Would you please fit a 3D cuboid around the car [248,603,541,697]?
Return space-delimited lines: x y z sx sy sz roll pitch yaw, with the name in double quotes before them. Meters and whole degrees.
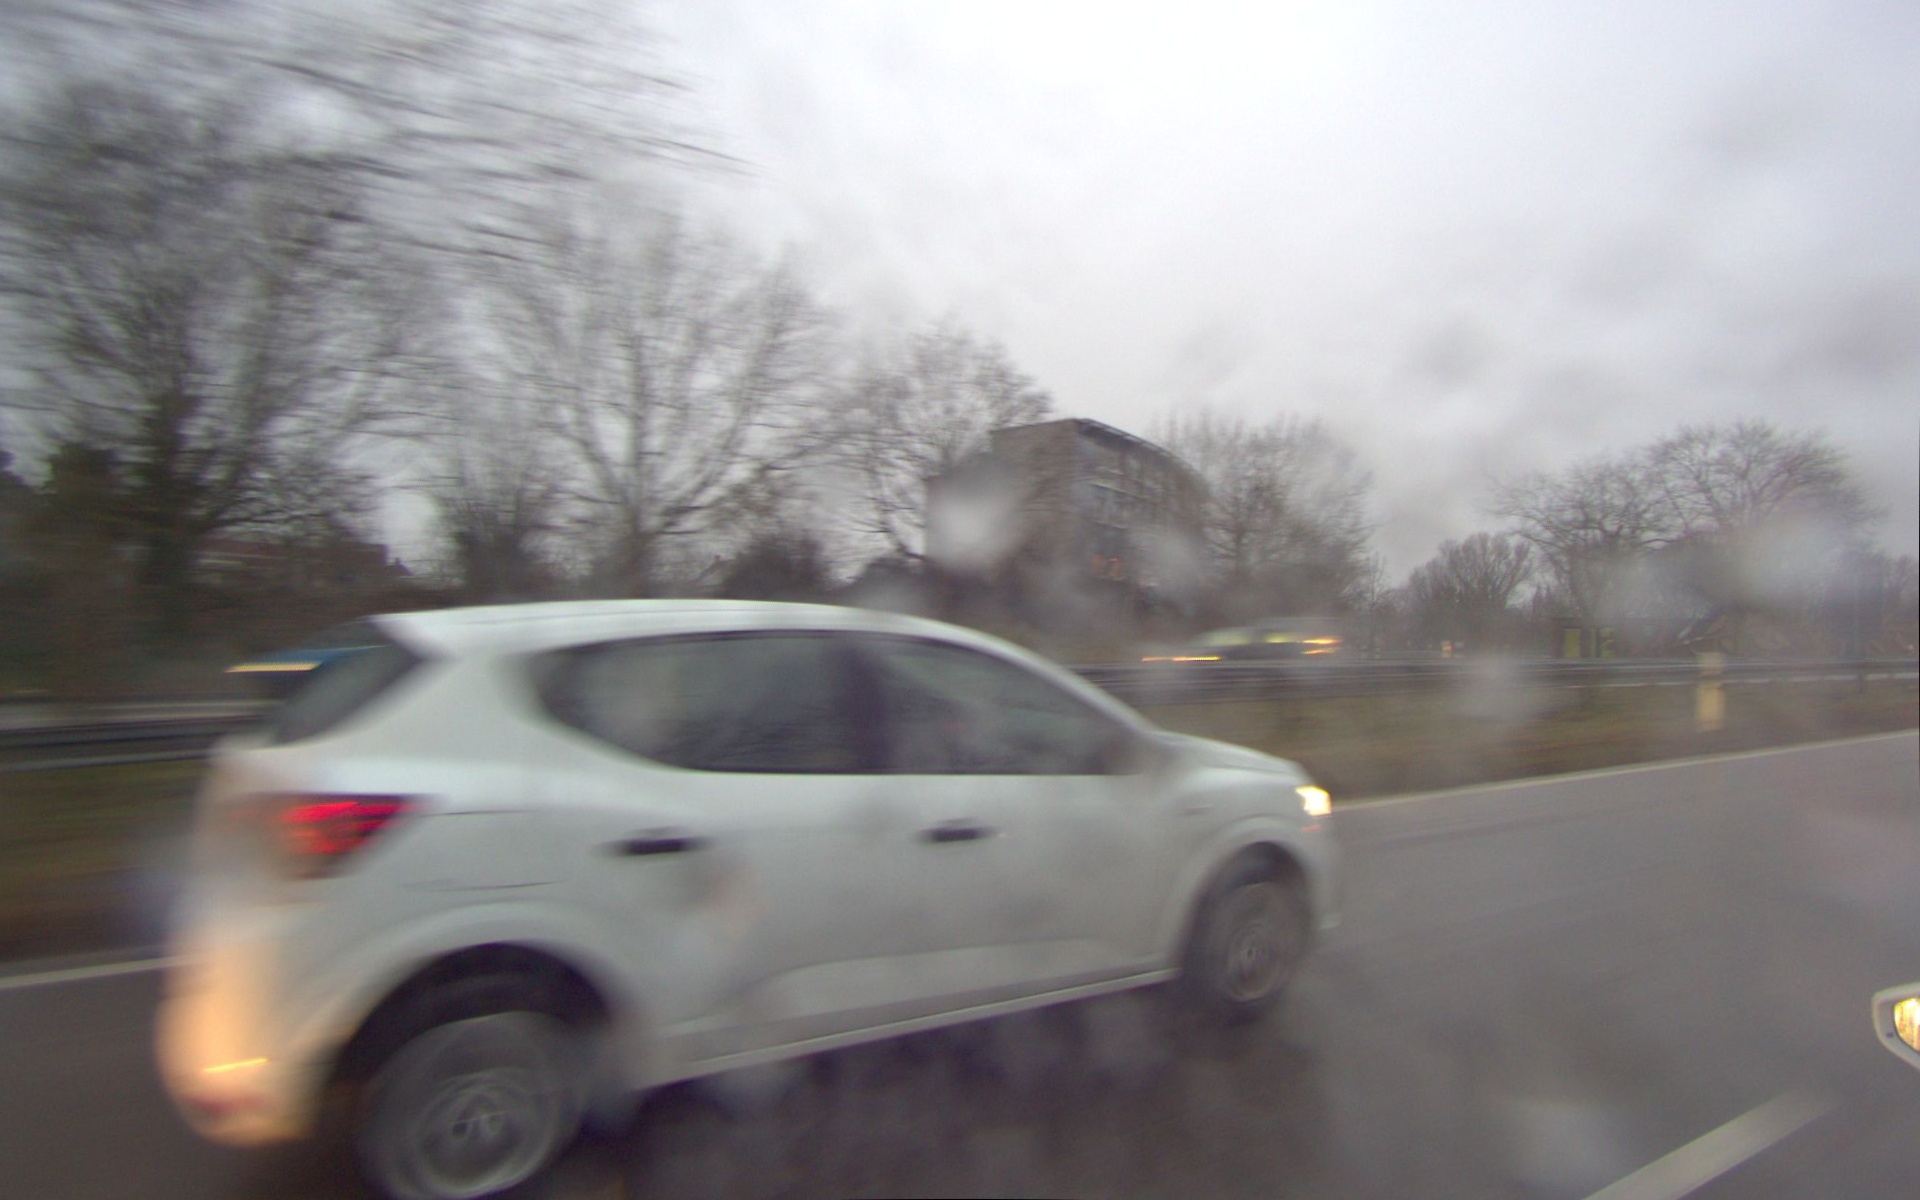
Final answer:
"car" -10.357 0.931 18.738 4.540 1.586 1.642 2 -2 -28

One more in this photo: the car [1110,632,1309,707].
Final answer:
"car" 5.749 1.566 23.027 4.321 1.553 1.777 2 -2 -27

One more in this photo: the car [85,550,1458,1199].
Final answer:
"car" -0.271 0.684 3.737 4.172 1.459 1.717 1 -2 -28

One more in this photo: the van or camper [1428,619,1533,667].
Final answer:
"van or camper" 20.720 1.713 39.968 4.155 1.807 1.642 2 -2 -28
